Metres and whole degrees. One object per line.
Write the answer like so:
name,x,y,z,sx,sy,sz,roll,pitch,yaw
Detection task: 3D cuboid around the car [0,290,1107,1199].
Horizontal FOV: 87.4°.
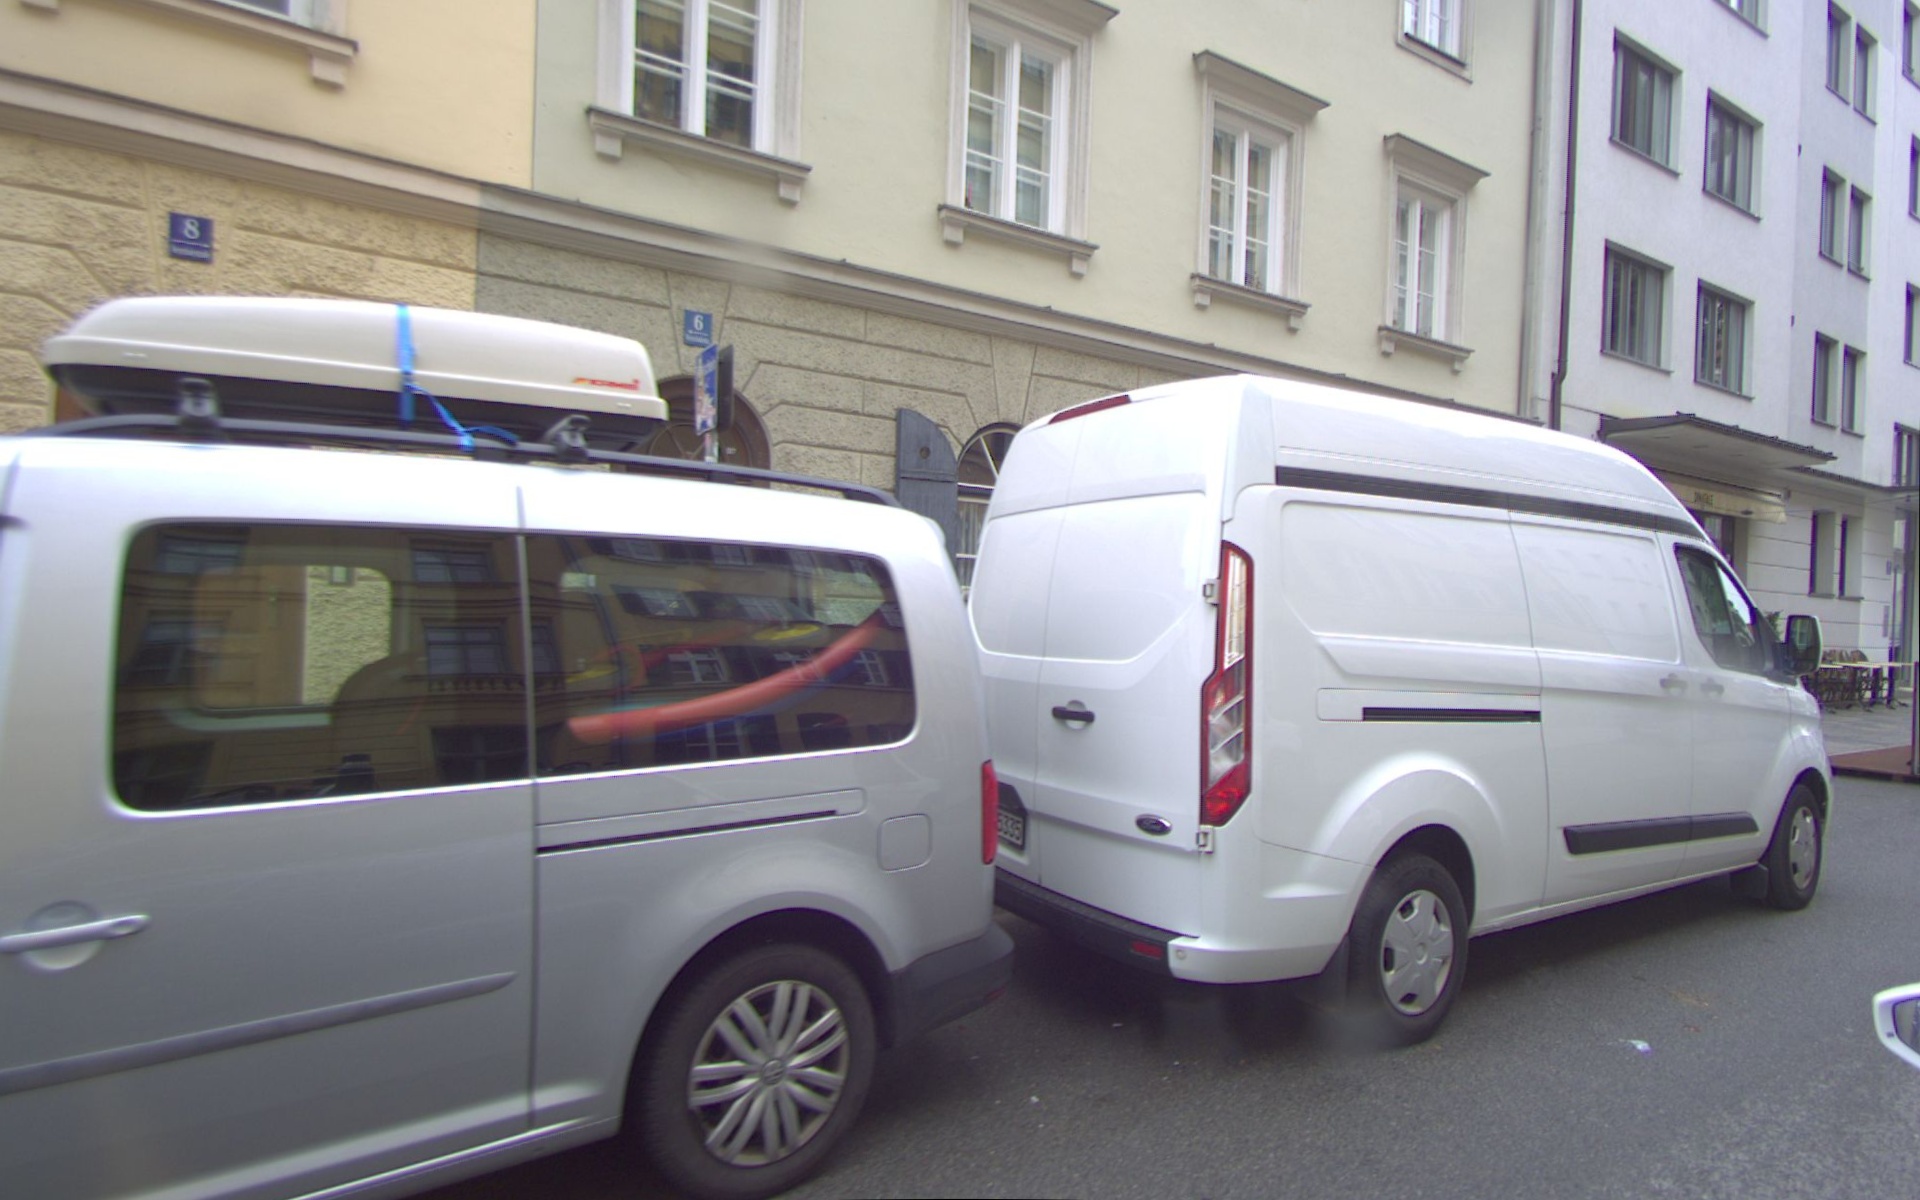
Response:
car,-1.949,0.500,2.409,4.579,2.021,1.743,2,0,-35

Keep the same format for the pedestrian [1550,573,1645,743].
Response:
pedestrian,7.104,0.631,11.190,0.732,1.818,0.589,3,-1,-31

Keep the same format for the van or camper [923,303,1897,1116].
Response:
van or camper,2.531,0.367,4.980,5.214,2.312,1.745,2,0,-32
